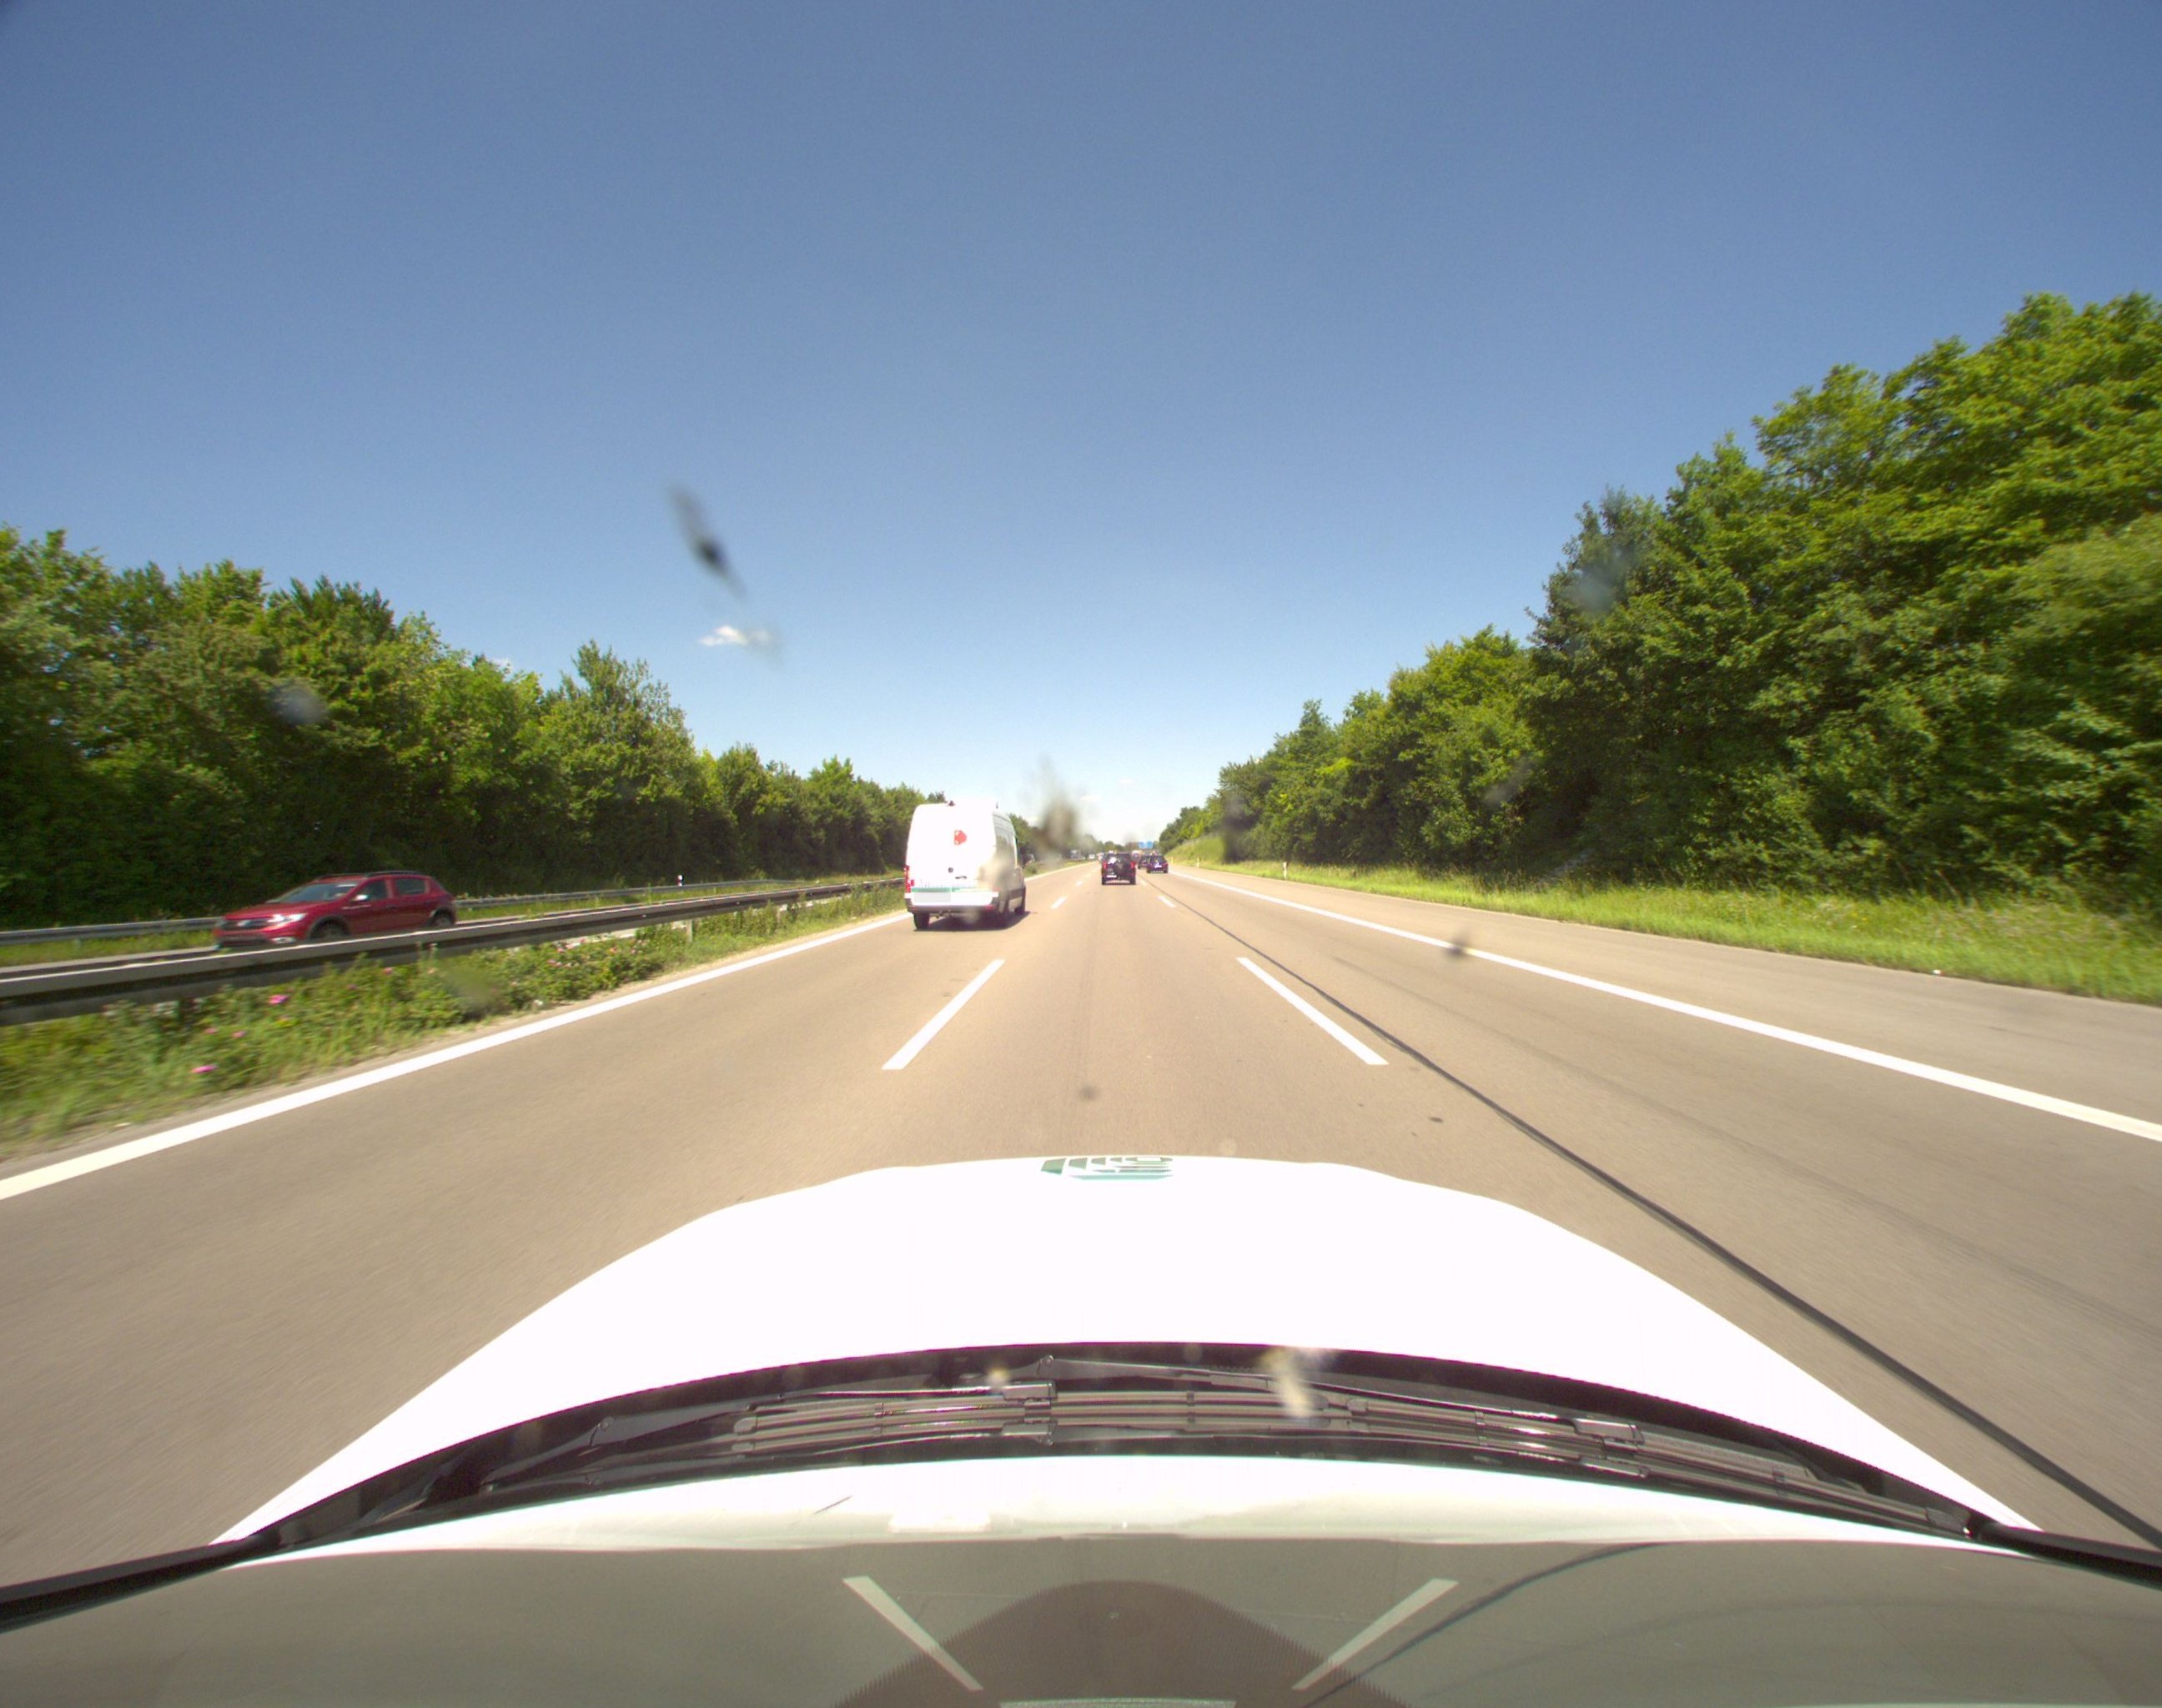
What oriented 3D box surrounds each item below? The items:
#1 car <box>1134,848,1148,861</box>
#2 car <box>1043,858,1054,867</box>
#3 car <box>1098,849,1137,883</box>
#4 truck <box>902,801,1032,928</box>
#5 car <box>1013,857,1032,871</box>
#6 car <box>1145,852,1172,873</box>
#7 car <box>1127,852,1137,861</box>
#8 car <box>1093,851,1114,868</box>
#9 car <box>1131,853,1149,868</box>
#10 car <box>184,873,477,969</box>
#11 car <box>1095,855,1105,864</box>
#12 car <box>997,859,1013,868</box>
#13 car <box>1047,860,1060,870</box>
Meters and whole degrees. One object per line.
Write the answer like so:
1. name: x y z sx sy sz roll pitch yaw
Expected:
1. car: 9.568 0.081 129.808 1.986 2.014 4.002 -1 -1 2
2. car: -7.238 1.883 182.261 1.986 1.855 4.500 -1 -1 2
3. car: 1.848 0.642 42.716 1.900 1.665 4.000 -1 -1 1
4. truck: -2.476 0.203 19.577 1.986 2.542 6.694 0 0 2
5. car: -7.829 1.289 109.250 1.899 1.788 5.061 -2 0 2
6. car: 6.609 0.775 69.630 1.986 1.684 4.000 -1 -1 1
7. car: 12.222 0.511 195.745 1.987 2.013 4.767 -2 0 0
8. car: 2.469 0.617 87.802 1.985 1.706 4.340 -2 0 4
9. car: 6.498 0.723 89.856 1.836 1.611 4.001 -1 -1 1
10. car: -15.048 1.252 16.741 1.855 1.629 4.324 -1 -1 3
11. car: 4.493 1.278 195.121 1.984 2.013 4.956 -2 0 4
12. car: -13.003 1.662 140.239 1.985 1.480 4.935 -2 0 3
13. car: -5.258 2.038 156.557 1.985 1.855 4.502 -1 -1 3
